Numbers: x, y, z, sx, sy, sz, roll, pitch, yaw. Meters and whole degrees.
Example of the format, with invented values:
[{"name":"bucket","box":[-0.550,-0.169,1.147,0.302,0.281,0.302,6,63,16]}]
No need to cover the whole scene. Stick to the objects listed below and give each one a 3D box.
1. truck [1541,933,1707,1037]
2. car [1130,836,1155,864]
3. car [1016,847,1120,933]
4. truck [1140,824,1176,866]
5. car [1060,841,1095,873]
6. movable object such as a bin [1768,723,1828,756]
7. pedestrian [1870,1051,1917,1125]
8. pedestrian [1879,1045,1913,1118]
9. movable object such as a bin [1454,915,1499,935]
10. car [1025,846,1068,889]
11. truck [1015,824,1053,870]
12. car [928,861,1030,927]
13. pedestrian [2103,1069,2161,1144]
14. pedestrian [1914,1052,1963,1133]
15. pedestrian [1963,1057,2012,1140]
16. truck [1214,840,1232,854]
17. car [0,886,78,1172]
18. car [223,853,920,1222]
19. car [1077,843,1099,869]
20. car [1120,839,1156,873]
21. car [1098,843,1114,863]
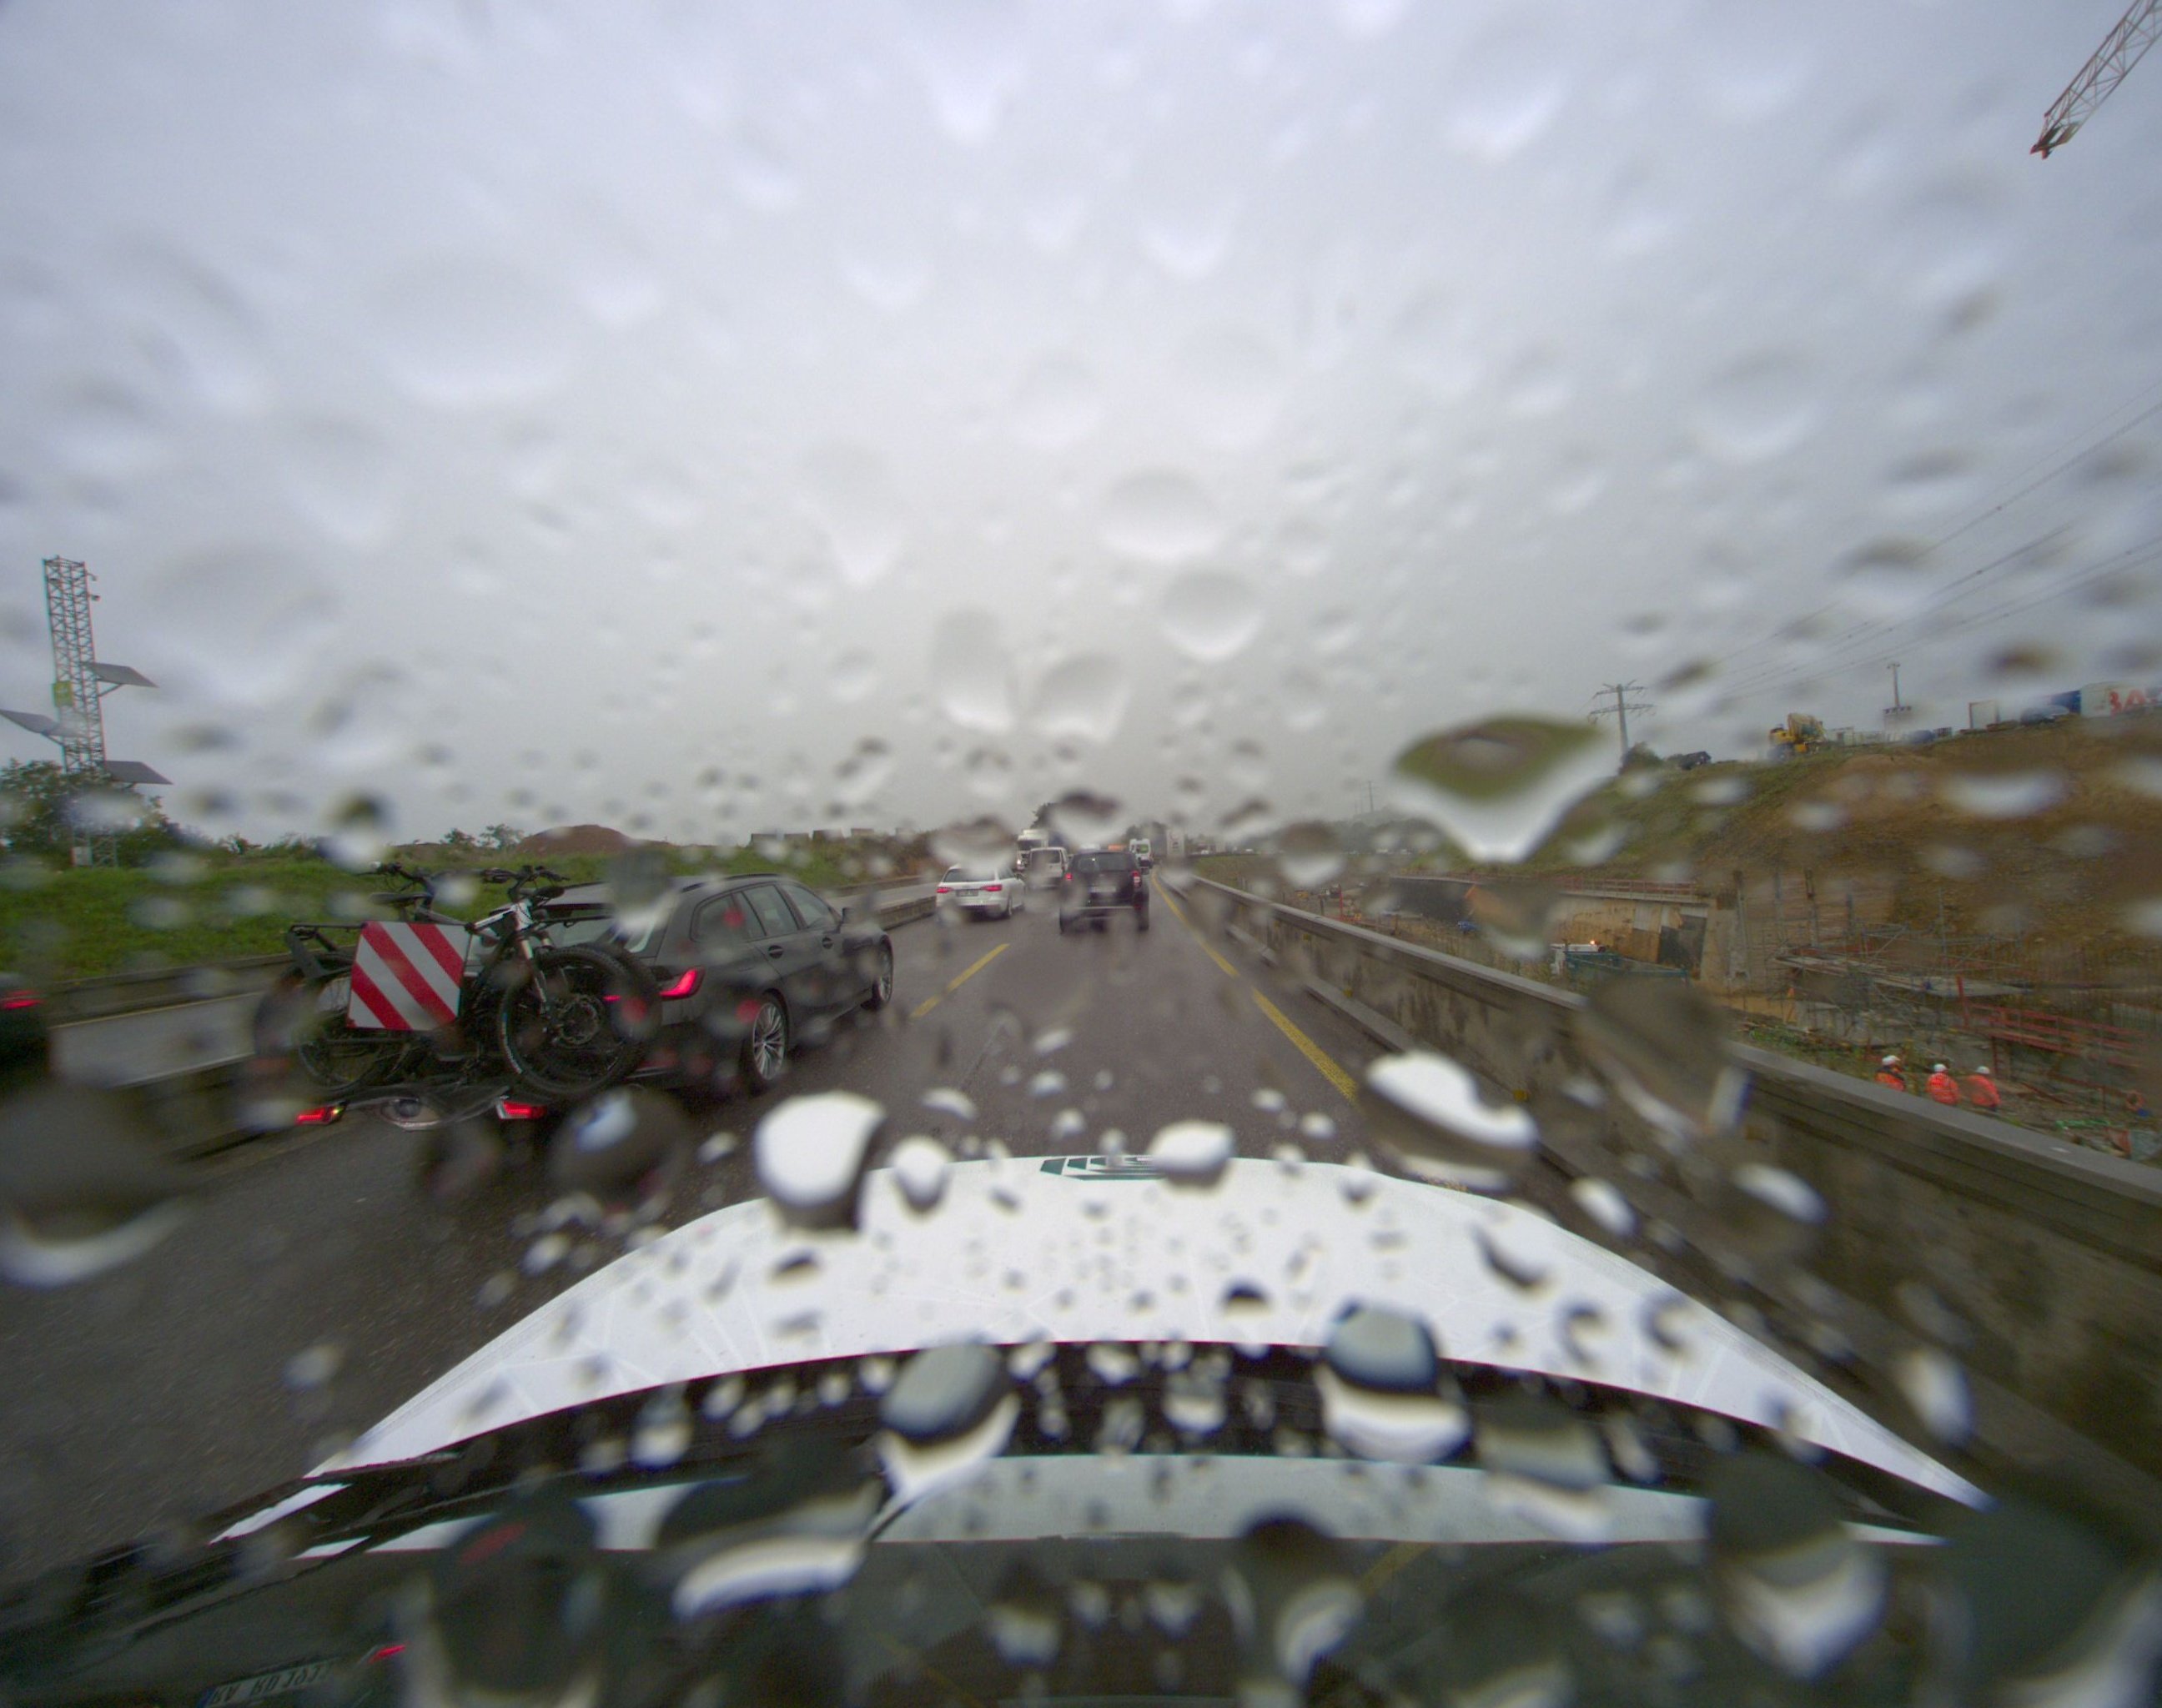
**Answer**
[{"name":"truck","box":[25.273,5.935,38.638,2.715,3.491,9.083,-1,-1,7]},{"name":"car","box":[5.788,-0.346,76.420,1.815,2.437,4.169,-2,-1,10]},{"name":"car","box":[-0.151,0.696,17.477,1.818,1.591,4.005,-1,-1,4]},{"name":"truck","box":[10.065,-1.075,105.292,3.522,5.077,10.471,-2,-1,10]},{"name":"car","box":[-0.183,0.190,50.381,1.818,1.815,4.004,-1,-1,4]},{"name":"movable object such as a bin","box":[65.696,-10.475,74.689,2.414,2.443,3.980,-2,1,10]},{"name":"pedestrian","box":[23.032,6.615,23.101,0.570,1.869,0.737,-2,-1,9]},{"name":"pedestrian","box":[23.741,6.604,23.735,0.568,1.869,0.740,-2,-1,39]},{"name":"movable object such as a bin","box":[42.027,7.532,86.548,2.008,2.014,3.800,2,-4,-34]},{"name":"car","box":[-1.522,0.598,36.823,1.821,1.815,3.997,-1,-1,-1]},{"name":"truck","box":[-4.379,-0.671,76.483,2.776,4.034,5.825,-1,1,3]},{"name":"car","box":[-2.532,0.953,21.140,1.818,1.499,4.004,-1,-1,4]},{"name":"pedestrian","box":[33.964,8.101,26.152,0.892,1.999,0.907,8,0,6]},{"name":"pedestrian","box":[23.485,6.498,22.303,0.576,1.944,0.729,-1,-1,-26]},{"name":"pedestrian","box":[24.065,6.476,21.632,0.726,1.944,0.579,-2,-1,40]},{"name":"truck","box":[38.778,-1.972,222.290,3.444,3.715,8.458,-3,0,18]},{"name":"car","box":[-7.090,1.019,2.471,1.911,1.585,4.897,-1,0,2]},{"name":"car","box":[-2.838,0.823,6.457,1.728,1.462,5.633,-2,2,2]},{"name":"car","box":[0.802,0.185,90.488,1.997,2.653,6.892,-1,1,4]},{"name":"car","box":[3.280,0.138,46.350,1.817,1.815,4.006,-1,-1,6]},{"name":"car","box":[3.556,-0.157,113.141,2.045,2.577,7.026,-1,0,3]}]
